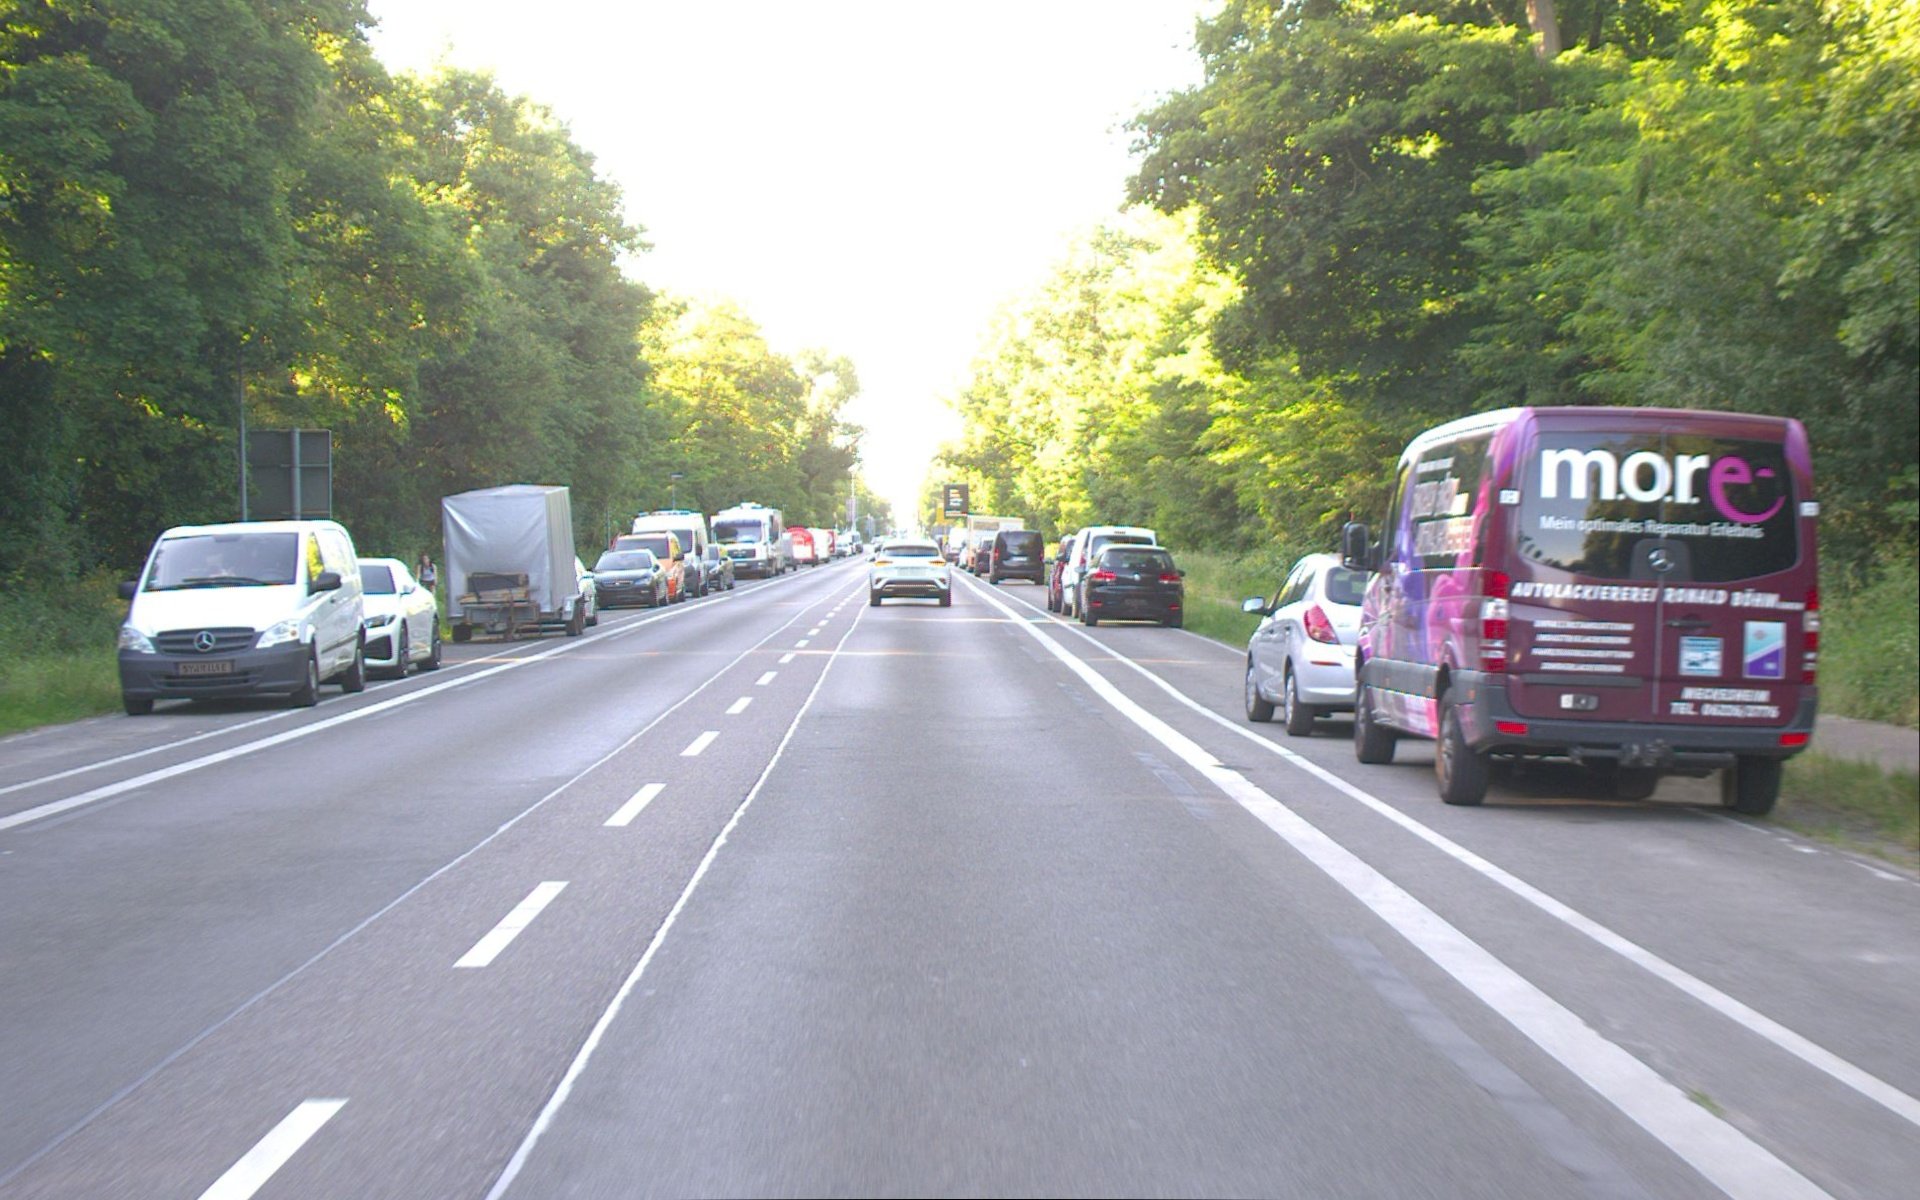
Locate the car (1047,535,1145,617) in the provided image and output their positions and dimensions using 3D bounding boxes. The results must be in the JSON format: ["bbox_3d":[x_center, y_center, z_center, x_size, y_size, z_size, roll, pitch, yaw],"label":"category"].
[{"bbox_3d":[2.889,-0.531,73.687,1.834,1.655,4.338,2,1,-1],"label":"car"}]

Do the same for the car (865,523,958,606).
[{"bbox_3d":[-1.089,-0.831,78.094,2.028,1.834,4.029,0,1,0],"label":"car"}]

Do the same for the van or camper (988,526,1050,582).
[{"bbox_3d":[2.070,-1.643,122.126,1.993,1.925,5.199,1,1,-1],"label":"van or camper"}]

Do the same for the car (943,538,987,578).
[{"bbox_3d":[0.198,-1.792,145.078,1.841,1.656,4.000,0,1,0],"label":"car"}]

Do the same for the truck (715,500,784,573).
[{"bbox_3d":[-9.903,-2.991,162.812,2.707,3.336,10.924,0,1,-1],"label":"truck"}]

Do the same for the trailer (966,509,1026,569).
[{"bbox_3d":[1.701,-2.952,167.024,2.757,2.860,6.589,0,1,-1],"label":"trailer"}]

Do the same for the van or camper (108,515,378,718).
[{"bbox_3d":[-7.306,0.115,35.507,1.835,1.905,4.856,-2,1,-1],"label":"van or camper"}]

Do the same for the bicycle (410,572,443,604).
[{"bbox_3d":[-12.066,-0.281,77.745,0.522,0.710,1.487,0,1,-1],"label":"bicycle"}]

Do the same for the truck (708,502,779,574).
[{"bbox_3d":[-9.476,-2.720,151.188,2.707,3.083,7.989,0,1,-1],"label":"truck"}]

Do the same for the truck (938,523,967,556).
[{"bbox_3d":[-0.599,-4.514,258.169,2.096,2.444,5.680,0,1,-1],"label":"truck"}]

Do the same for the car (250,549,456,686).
[{"bbox_3d":[-7.426,0.173,42.442,1.774,1.535,4.525,-2,1,-1],"label":"car"}]

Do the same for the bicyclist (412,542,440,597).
[{"bbox_3d":[-12.070,-0.694,77.742,0.487,1.231,0.974,0,1,-1],"label":"bicyclist"}]

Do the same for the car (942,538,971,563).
[{"bbox_3d":[-0.238,-2.908,202.736,1.656,1.473,3.754,0,1,-1],"label":"car"}]

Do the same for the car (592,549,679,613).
[{"bbox_3d":[-7.992,-0.480,85.070,1.731,1.473,4.324,-2,1,0],"label":"car"}]

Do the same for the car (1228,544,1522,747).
[{"bbox_3d":[3.415,0.324,28.967,1.747,1.510,4.001,3,1,-3],"label":"car"}]

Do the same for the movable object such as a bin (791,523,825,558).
[{"bbox_3d":[-10.939,-4.275,247.205,2.322,2.493,4.000,0,1,-1],"label":"movable object such as a bin"}]

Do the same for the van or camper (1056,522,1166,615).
[{"bbox_3d":[2.985,-0.649,68.801,1.951,1.809,4.381,0,1,-1],"label":"van or camper"}]

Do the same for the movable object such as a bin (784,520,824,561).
[{"bbox_3d":[-9.538,-3.649,210.311,2.322,2.493,4.000,0,1,-1],"label":"movable object such as a bin"}]

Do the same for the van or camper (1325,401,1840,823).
[{"bbox_3d":[3.777,0.001,22.091,2.035,2.304,6.041,-1,1,-2],"label":"van or camper"}]

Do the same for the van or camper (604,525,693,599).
[{"bbox_3d":[-8.293,-1.021,91.837,1.923,1.860,4.863,-2,1,0],"label":"van or camper"}]

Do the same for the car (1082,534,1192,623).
[{"bbox_3d":[3.165,-0.420,62.144,1.690,1.519,4.150,1,1,-1],"label":"car"}]

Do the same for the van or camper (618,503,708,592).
[{"bbox_3d":[-8.855,-1.573,103.052,2.121,2.563,6.542,-1,1,0],"label":"van or camper"}]

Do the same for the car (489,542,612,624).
[{"bbox_3d":[-7.739,-0.349,65.336,1.797,1.448,4.625,-2,1,-1],"label":"car"}]

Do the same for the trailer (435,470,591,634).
[{"bbox_3d":[-7.528,-0.813,58.236,1.993,2.588,4.416,-2,1,-1],"label":"trailer"}]
